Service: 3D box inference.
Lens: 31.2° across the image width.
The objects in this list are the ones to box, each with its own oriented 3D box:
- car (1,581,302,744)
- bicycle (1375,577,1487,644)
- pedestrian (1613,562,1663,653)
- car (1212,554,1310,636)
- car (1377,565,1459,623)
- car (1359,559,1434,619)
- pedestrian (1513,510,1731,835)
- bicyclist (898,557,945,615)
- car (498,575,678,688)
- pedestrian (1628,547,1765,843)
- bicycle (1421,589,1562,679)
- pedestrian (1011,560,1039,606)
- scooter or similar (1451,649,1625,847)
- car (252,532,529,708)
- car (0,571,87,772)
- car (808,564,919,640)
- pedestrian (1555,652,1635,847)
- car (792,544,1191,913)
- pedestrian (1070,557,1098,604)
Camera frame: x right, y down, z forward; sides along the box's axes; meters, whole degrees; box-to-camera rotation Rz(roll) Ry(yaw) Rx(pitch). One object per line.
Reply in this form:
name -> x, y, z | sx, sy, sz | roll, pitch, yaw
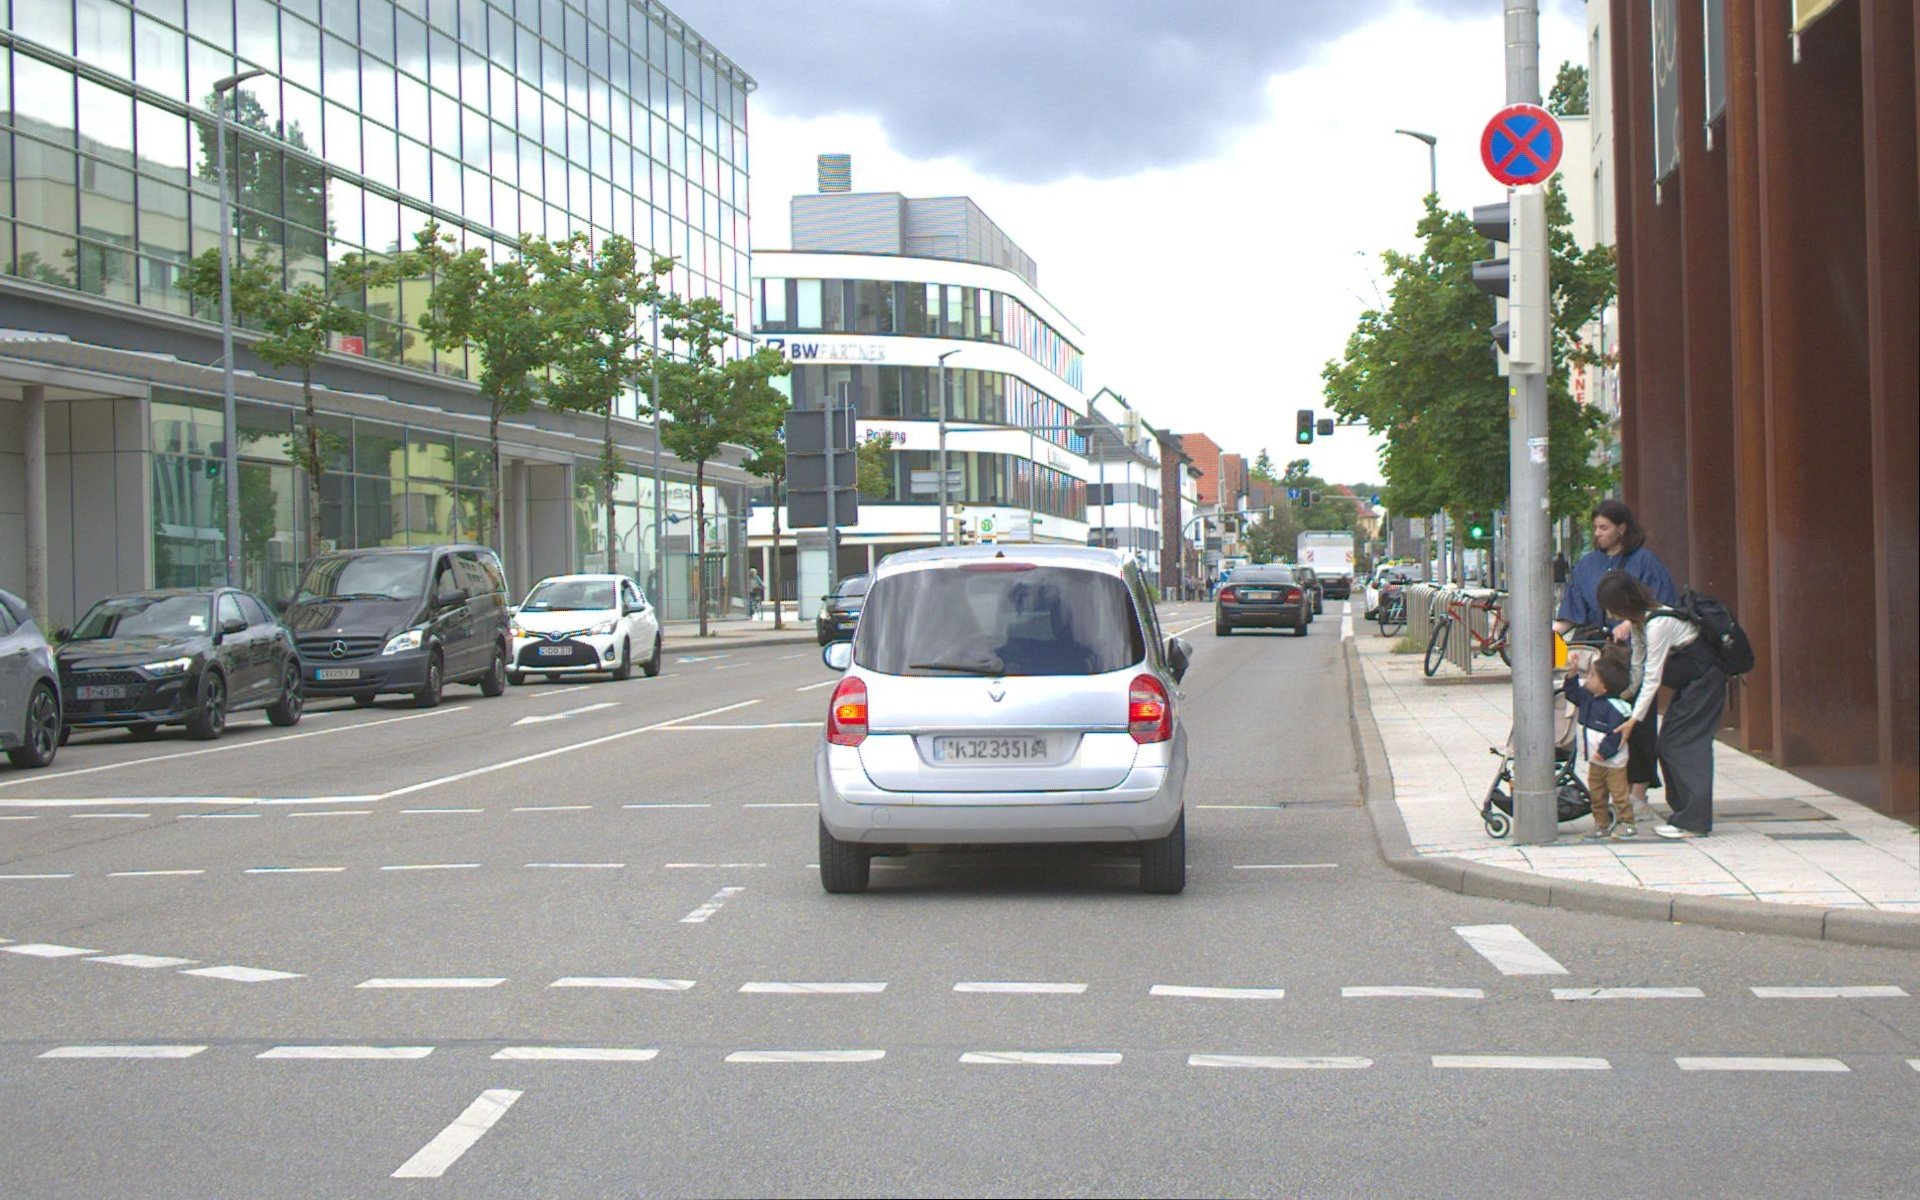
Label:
car -> -7.741, 0.560, 33.272 | 1.702, 1.438, 3.999 | -1, 1, 4
bicycle -> 8.090, 0.184, 59.094 | 1.825, 1.071, 0.752 | -2, 0, 5
pedestrian -> 12.137, 0.130, 61.589 | 0.710, 1.569, 0.812 | -4, 0, 7
car -> 5.993, -0.122, 68.123 | 1.670, 1.549, 3.641 | 1, 1, 9
car -> 11.063, -0.164, 83.212 | 1.878, 1.330, 3.999 | 1, 1, 7
car -> 11.359, -0.308, 89.572 | 1.878, 1.503, 3.999 | 1, 1, 7
pedestrian -> 3.443, 0.359, 17.884 | 0.872, 1.641, 0.679 | 0, 1, 41
bicyclist -> -1.106, -0.402, 99.622 | 1.006, 1.655, 0.933 | 1, 0, -29
car -> -5.235, 0.417, 48.864 | 1.660, 1.460, 3.999 | -2, 0, 7
pedestrian -> 3.580, 0.453, 16.736 | 0.601, 1.415, 0.582 | -1, 1, 9
bicycle -> 6.070, 0.387, 39.236 | 1.561, 0.989, 0.752 | -1, 0, 10
pedestrian -> 2.597, -0.686, 137.325 | 0.961, 1.827, 1.250 | -1, 0, 7
scooter or similar -> 2.934, 0.738, 17.433 | 0.634, 0.958, 0.619 | 0, 1, 40
car -> -6.672, 0.198, 40.867 | 1.866, 1.903, 5.112 | -2, 0, 6
car -> -8.276, 0.601, 26.147 | 1.759, 1.512, 4.386 | -2, 1, 5
car -> -1.984, 0.016, 71.768 | 1.660, 1.475, 3.999 | -2, 0, 7
pedestrian -> 3.098, 0.725, 16.794 | 0.362, 0.921, 0.454 | -1, 1, 9
car -> 0.253, 0.524, 16.570 | 1.670, 1.549, 3.641 | 1, 1, 4
pedestrian -> 4.953, -0.777, 137.298 | 0.961, 1.827, 1.250 | -1, 0, 7
